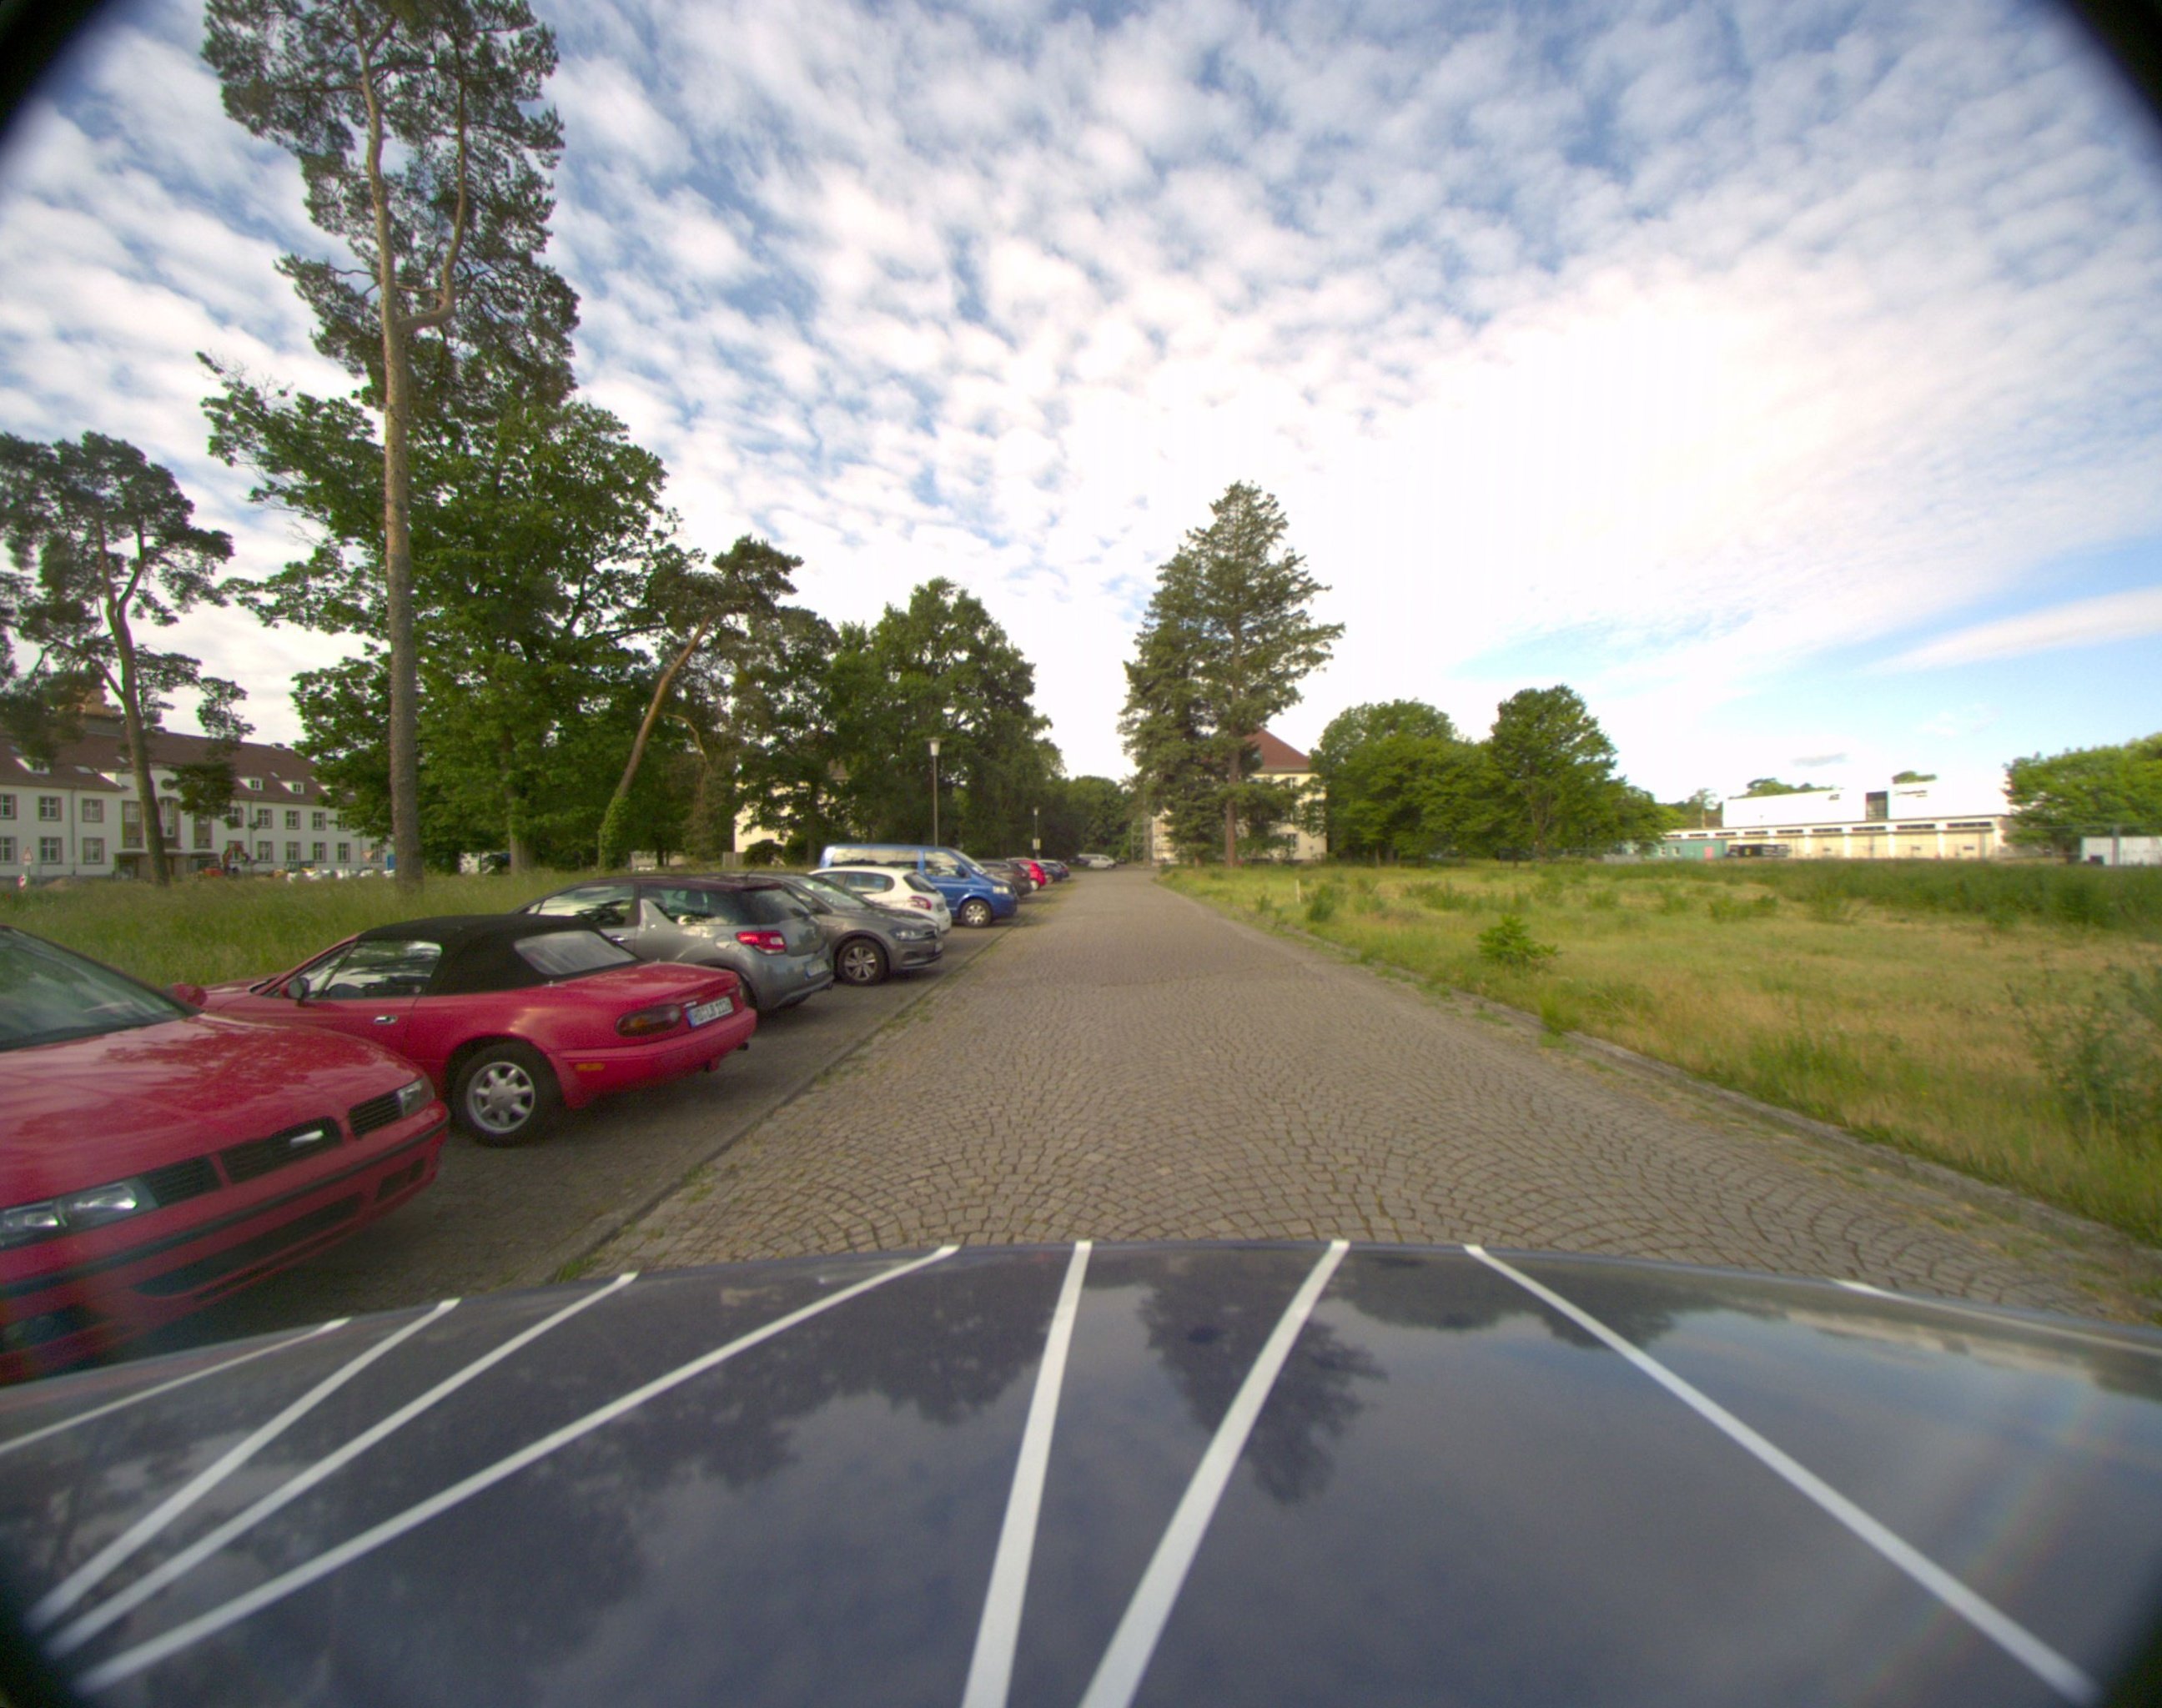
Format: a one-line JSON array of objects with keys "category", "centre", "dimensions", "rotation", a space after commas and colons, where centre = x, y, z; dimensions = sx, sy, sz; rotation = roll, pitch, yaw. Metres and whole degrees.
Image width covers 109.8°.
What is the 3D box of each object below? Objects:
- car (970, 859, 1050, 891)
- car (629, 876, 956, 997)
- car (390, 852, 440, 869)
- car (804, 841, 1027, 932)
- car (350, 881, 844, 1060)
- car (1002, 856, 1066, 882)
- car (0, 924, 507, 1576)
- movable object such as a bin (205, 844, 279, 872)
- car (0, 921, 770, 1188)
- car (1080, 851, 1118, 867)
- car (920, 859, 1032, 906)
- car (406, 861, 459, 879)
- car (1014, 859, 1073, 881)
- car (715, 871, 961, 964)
[{"category": "car", "centre": [-3.483, 1.010, 37.726], "dimensions": [3.838, 1.516, 1.581], "rotation": [-1, 0, -2]}, {"category": "car", "centre": [-3.774, 1.066, 10.338], "dimensions": [3.780, 1.457, 1.643], "rotation": [-1, 0, 4]}, {"category": "car", "centre": [-79.071, 0.777, 90.306], "dimensions": [2.217, 2.002, 4.002], "rotation": [-1, 0, 7]}, {"category": "car", "centre": [-3.942, 0.750, 18.710], "dimensions": [4.953, 2.011, 2.061], "rotation": [1, 0, 3]}, {"category": "car", "centre": [-4.524, 1.059, 7.494], "dimensions": [3.837, 1.494, 1.604], "rotation": [-1, 0, 2]}, {"category": "car", "centre": [-2.944, 0.948, 48.130], "dimensions": [3.835, 1.609, 1.582], "rotation": [-1, 0, 6]}, {"category": "car", "centre": [-4.629, 1.041, 2.542], "dimensions": [4.117, 1.415, 1.720], "rotation": [-1, 0, 1]}, {"category": "movable object such as a bin", "centre": [-87.229, 0.386, 79.123], "dimensions": [1.999, 2.752, 5.202], "rotation": [-1, 0, -3]}, {"category": "car", "centre": [-4.106, 1.134, 4.857], "dimensions": [3.554, 1.279, 1.609], "rotation": [-1, -1, 3]}, {"category": "car", "centre": [2.382, 0.650, 101.454], "dimensions": [5.129, 2.002, 1.804], "rotation": [-1, 0, 0]}, {"category": "car", "centre": [-3.723, 0.988, 27.348], "dimensions": [3.838, 1.592, 1.581], "rotation": [-1, 0, -2]}, {"category": "car", "centre": [-65.644, 1.578, 76.962], "dimensions": [1.846, 1.674, 3.938], "rotation": [1, 0, 5]}, {"category": "car", "centre": [-2.560, 1.102, 52.698], "dimensions": [3.835, 1.520, 1.674], "rotation": [-1, 0, 6]}, {"category": "car", "centre": [-4.141, 1.069, 13.289], "dimensions": [3.761, 1.490, 1.581], "rotation": [-1, 0, 4]}]
